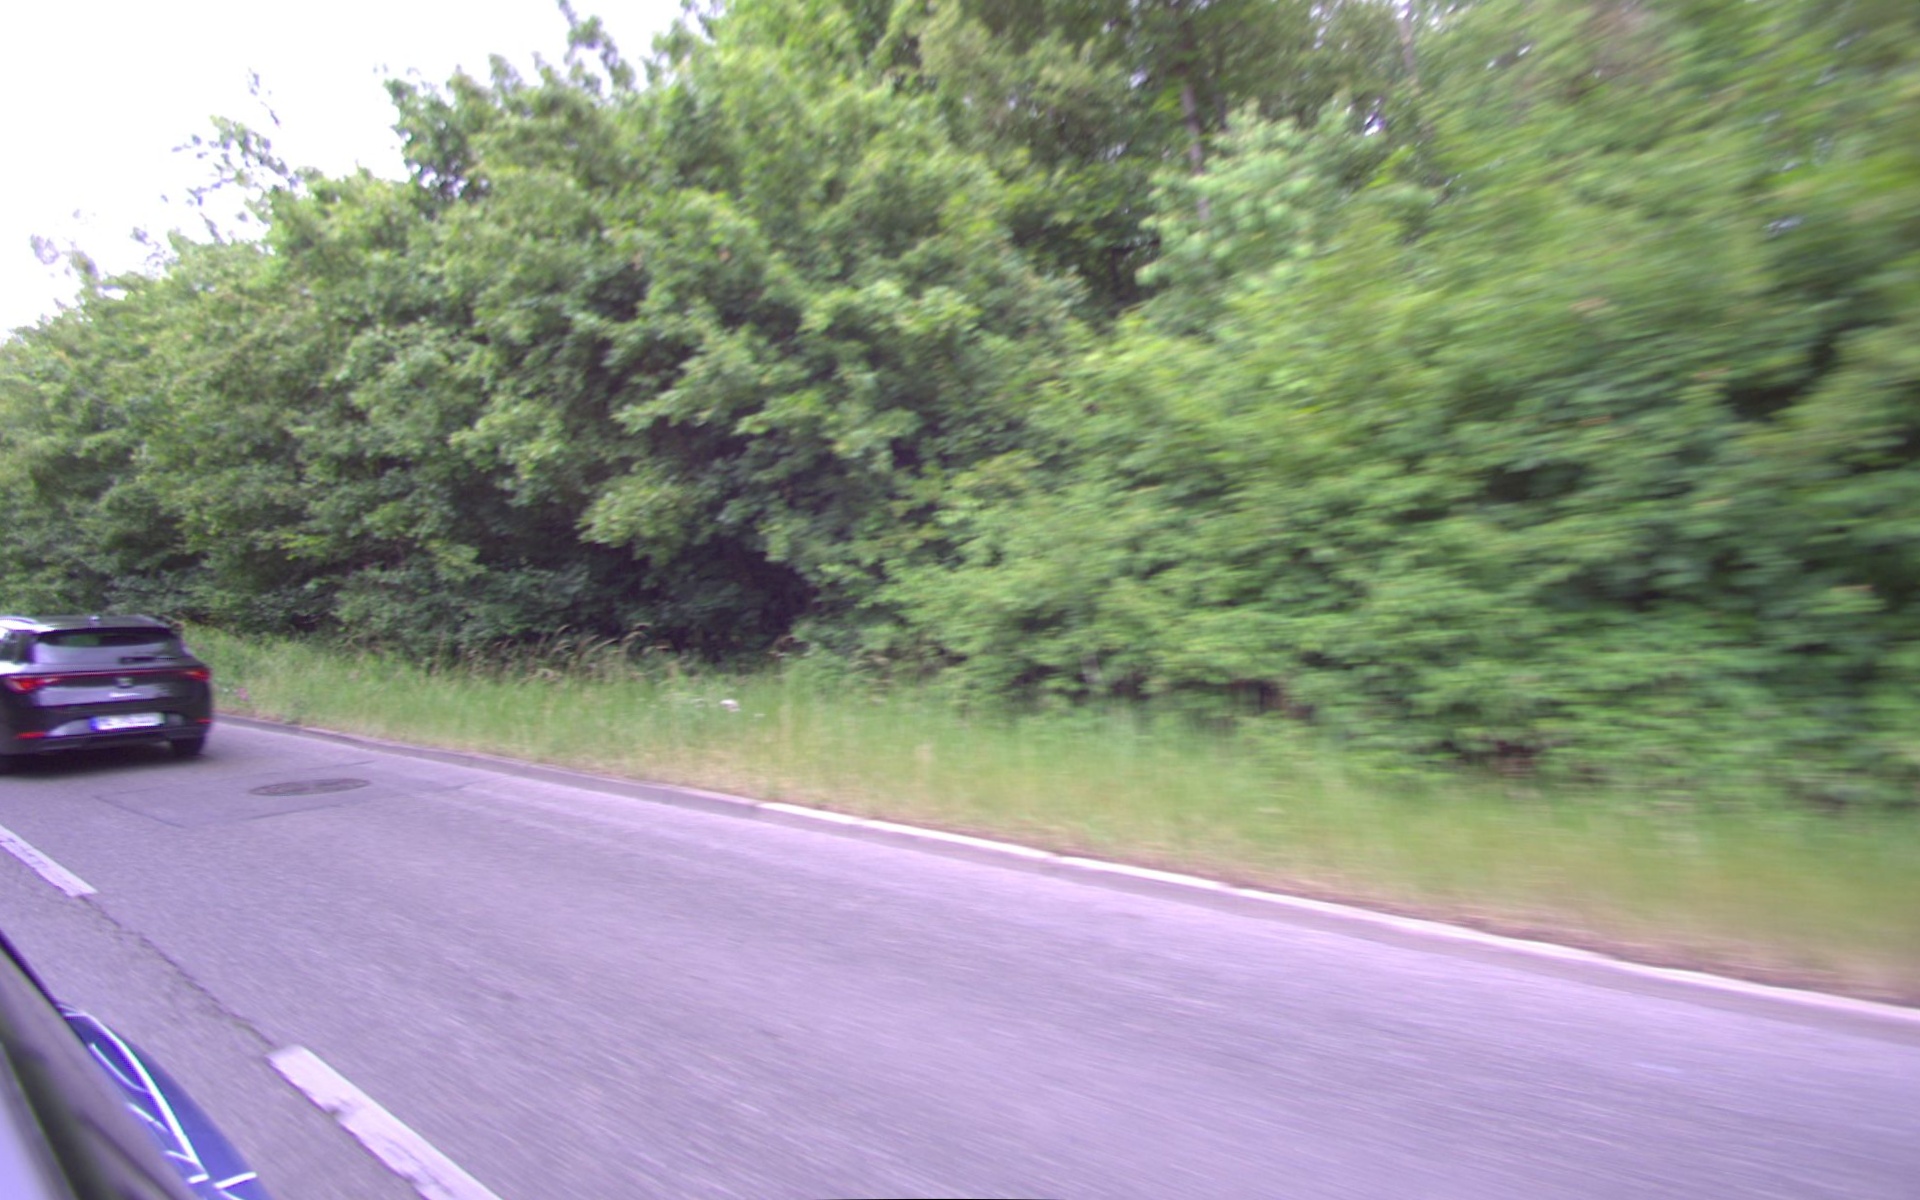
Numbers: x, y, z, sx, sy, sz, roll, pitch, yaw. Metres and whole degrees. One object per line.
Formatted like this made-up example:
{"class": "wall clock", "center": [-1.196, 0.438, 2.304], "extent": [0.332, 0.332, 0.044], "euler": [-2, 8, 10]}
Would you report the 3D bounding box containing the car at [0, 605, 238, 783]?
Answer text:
{"class": "car", "center": [-9.319, 0.809, 10.372], "extent": [4.651, 1.445, 1.786], "euler": [-1, 0, 37]}
